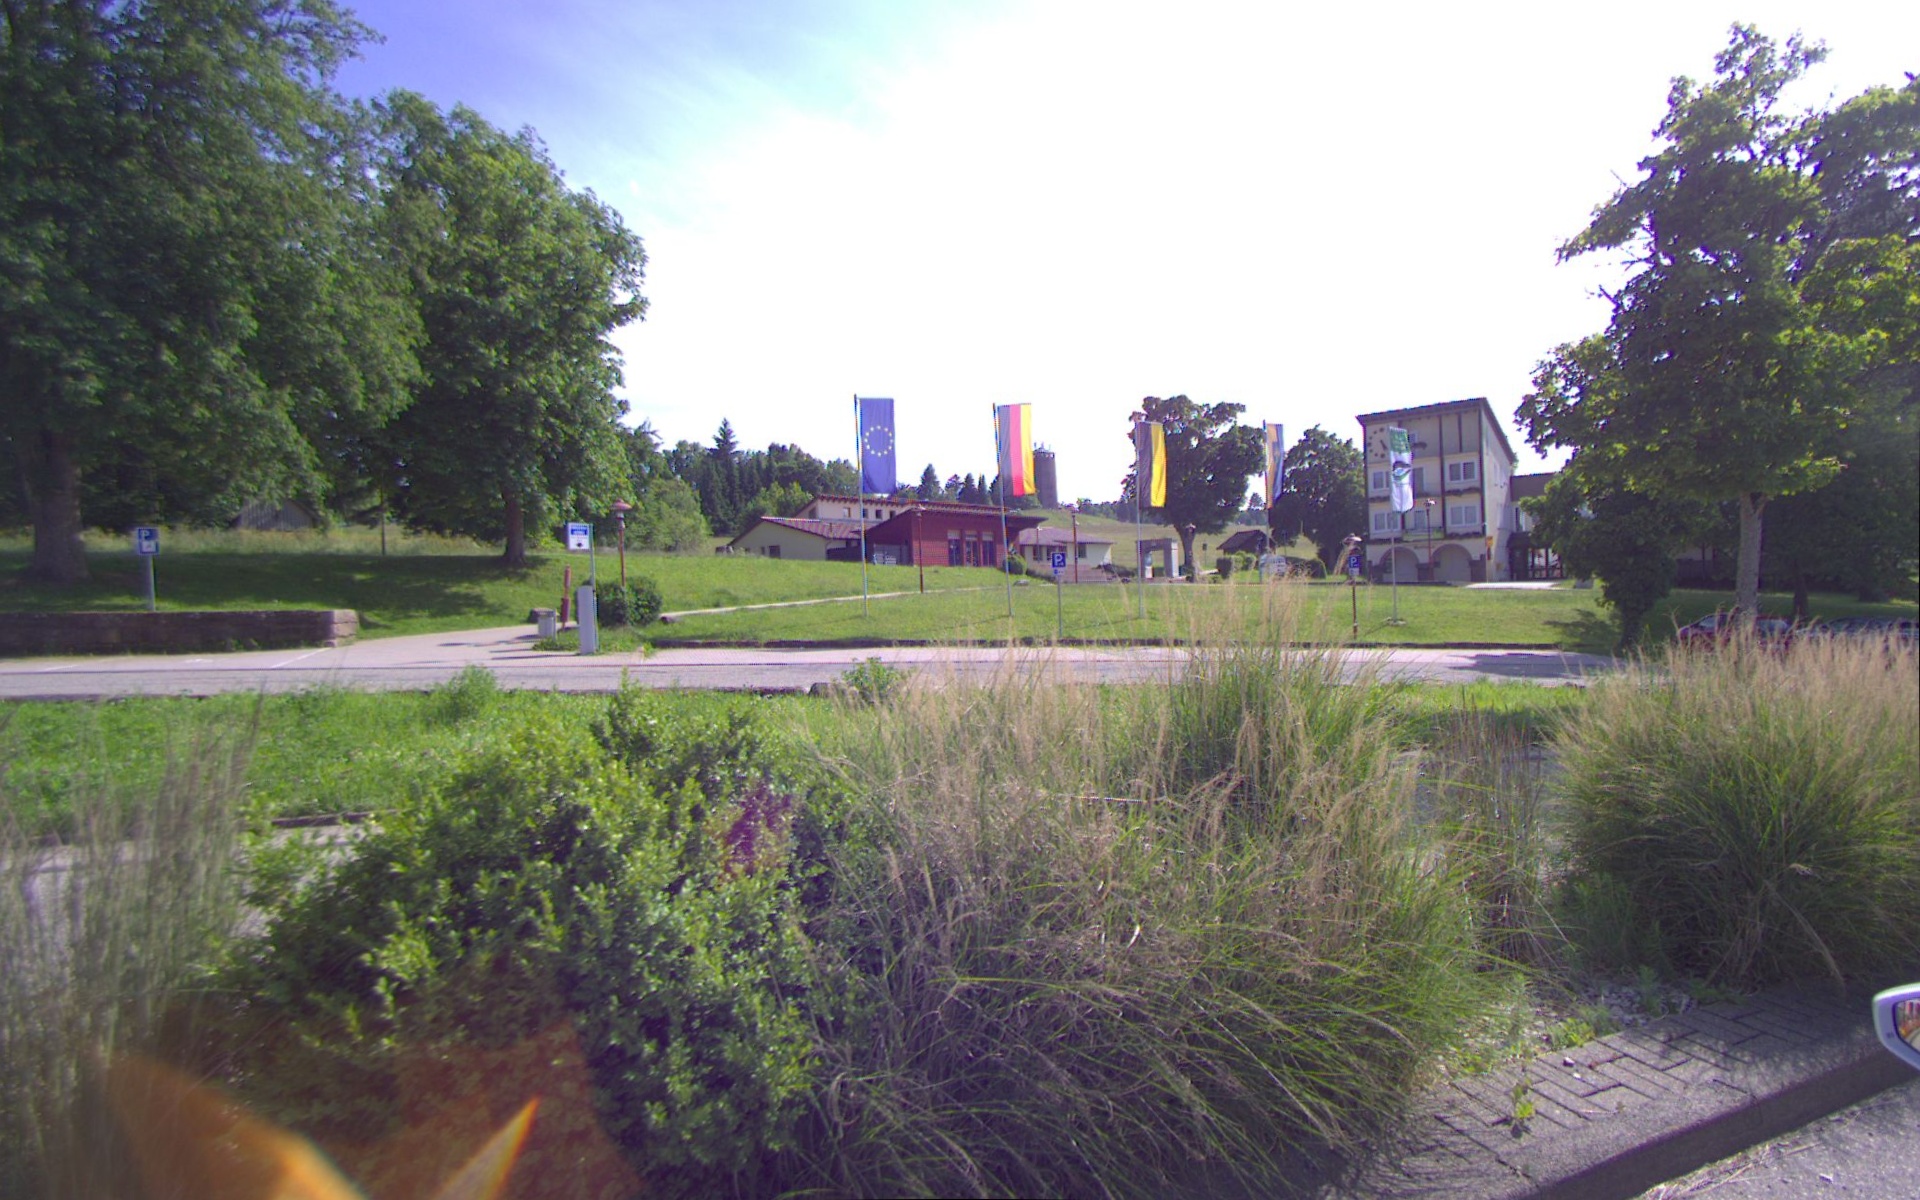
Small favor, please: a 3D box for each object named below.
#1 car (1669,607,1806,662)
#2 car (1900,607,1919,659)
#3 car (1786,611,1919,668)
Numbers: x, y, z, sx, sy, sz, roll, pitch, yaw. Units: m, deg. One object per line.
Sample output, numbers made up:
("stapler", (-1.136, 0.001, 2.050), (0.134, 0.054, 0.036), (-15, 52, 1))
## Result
("car", (24.262, 1.046, 31.475), (1.741, 1.490, 3.207), (1, 2, -1))
("car", (31.627, 1.125, 30.872), (1.741, 1.631, 3.941), (1, 2, 0))
("car", (27.636, 1.168, 30.673), (1.741, 1.453, 3.713), (1, 2, 1))
